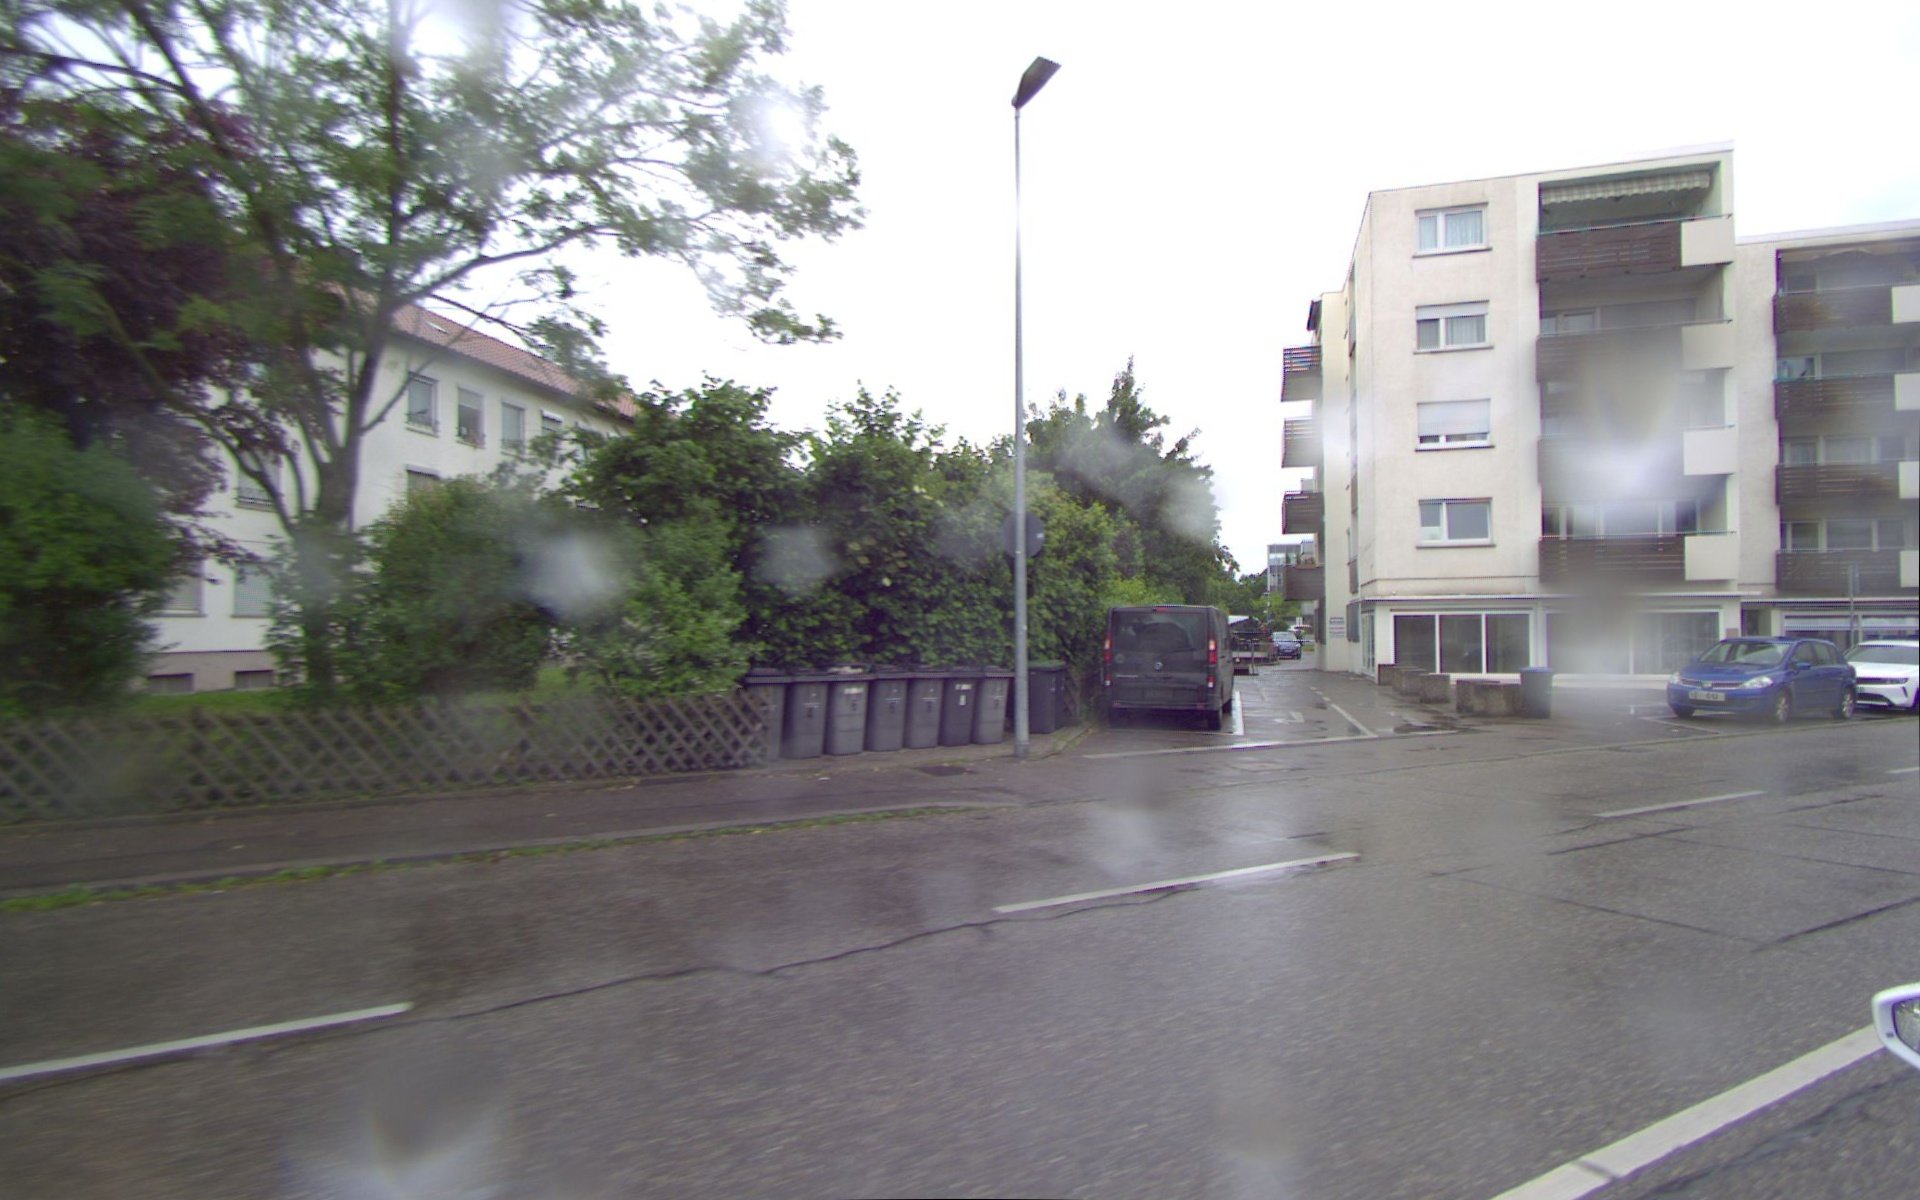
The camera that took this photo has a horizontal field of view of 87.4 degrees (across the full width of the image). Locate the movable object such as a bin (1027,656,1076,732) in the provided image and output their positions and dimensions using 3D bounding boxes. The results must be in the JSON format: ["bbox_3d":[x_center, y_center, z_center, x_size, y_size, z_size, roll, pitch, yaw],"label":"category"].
[{"bbox_3d":[1.429,1.456,15.717,0.590,1.133,0.601,-1,-2,26],"label":"movable object such as a bin"}]

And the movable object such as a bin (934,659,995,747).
[{"bbox_3d":[0.061,1.380,13.595,0.597,1.133,0.594,1,-2,-41],"label":"movable object such as a bin"}]

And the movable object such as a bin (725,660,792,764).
[{"bbox_3d":[-2.333,1.275,11.609,0.594,1.133,0.596,1,-2,-31],"label":"movable object such as a bin"}]

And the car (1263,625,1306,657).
[{"bbox_3d":[21.105,2.638,65.499,1.959,2.040,4.003,0,-1,7],"label":"car"}]

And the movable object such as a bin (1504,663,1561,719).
[{"bbox_3d":[10.555,1.663,18.535,0.674,0.978,0.645,1,-2,-28],"label":"movable object such as a bin"}]

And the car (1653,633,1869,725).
[{"bbox_3d":[15.144,1.413,18.948,4.270,1.541,1.645,1,-1,-28],"label":"car"}]

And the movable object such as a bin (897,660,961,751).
[{"bbox_3d":[-0.410,1.371,13.188,0.597,1.133,0.594,1,-2,-41],"label":"movable object such as a bin"}]

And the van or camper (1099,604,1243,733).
[{"bbox_3d":[3.932,1.084,17.973,1.960,1.950,5.219,-2,-1,18],"label":"van or camper"}]

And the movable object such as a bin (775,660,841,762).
[{"bbox_3d":[-1.803,1.295,11.924,0.594,1.133,0.596,1,-1,-31],"label":"movable object such as a bin"}]

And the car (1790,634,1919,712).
[{"bbox_3d":[19.848,1.478,21.421,4.624,1.483,1.687,1,-1,-28],"label":"car"}]

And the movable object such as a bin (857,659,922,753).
[{"bbox_3d":[-0.896,1.331,12.810,0.597,1.133,0.594,1,-2,-41],"label":"movable object such as a bin"}]

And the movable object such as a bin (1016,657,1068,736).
[{"bbox_3d":[1.226,1.422,15.025,0.590,1.133,0.601,-1,-2,26],"label":"movable object such as a bin"}]

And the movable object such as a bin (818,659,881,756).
[{"bbox_3d":[-1.368,1.305,12.424,0.594,1.133,0.596,1,-1,-30],"label":"movable object such as a bin"}]

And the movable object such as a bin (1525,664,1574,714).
[{"bbox_3d":[11.189,1.679,19.086,0.590,0.914,0.572,1,-2,-28],"label":"movable object such as a bin"}]

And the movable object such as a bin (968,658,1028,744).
[{"bbox_3d":[0.528,1.386,14.004,0.597,1.133,0.594,1,-2,-41],"label":"movable object such as a bin"}]

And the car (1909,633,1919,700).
[{"bbox_3d":[24.697,1.554,23.763,4.463,1.562,1.927,1,-1,-28],"label":"car"}]
